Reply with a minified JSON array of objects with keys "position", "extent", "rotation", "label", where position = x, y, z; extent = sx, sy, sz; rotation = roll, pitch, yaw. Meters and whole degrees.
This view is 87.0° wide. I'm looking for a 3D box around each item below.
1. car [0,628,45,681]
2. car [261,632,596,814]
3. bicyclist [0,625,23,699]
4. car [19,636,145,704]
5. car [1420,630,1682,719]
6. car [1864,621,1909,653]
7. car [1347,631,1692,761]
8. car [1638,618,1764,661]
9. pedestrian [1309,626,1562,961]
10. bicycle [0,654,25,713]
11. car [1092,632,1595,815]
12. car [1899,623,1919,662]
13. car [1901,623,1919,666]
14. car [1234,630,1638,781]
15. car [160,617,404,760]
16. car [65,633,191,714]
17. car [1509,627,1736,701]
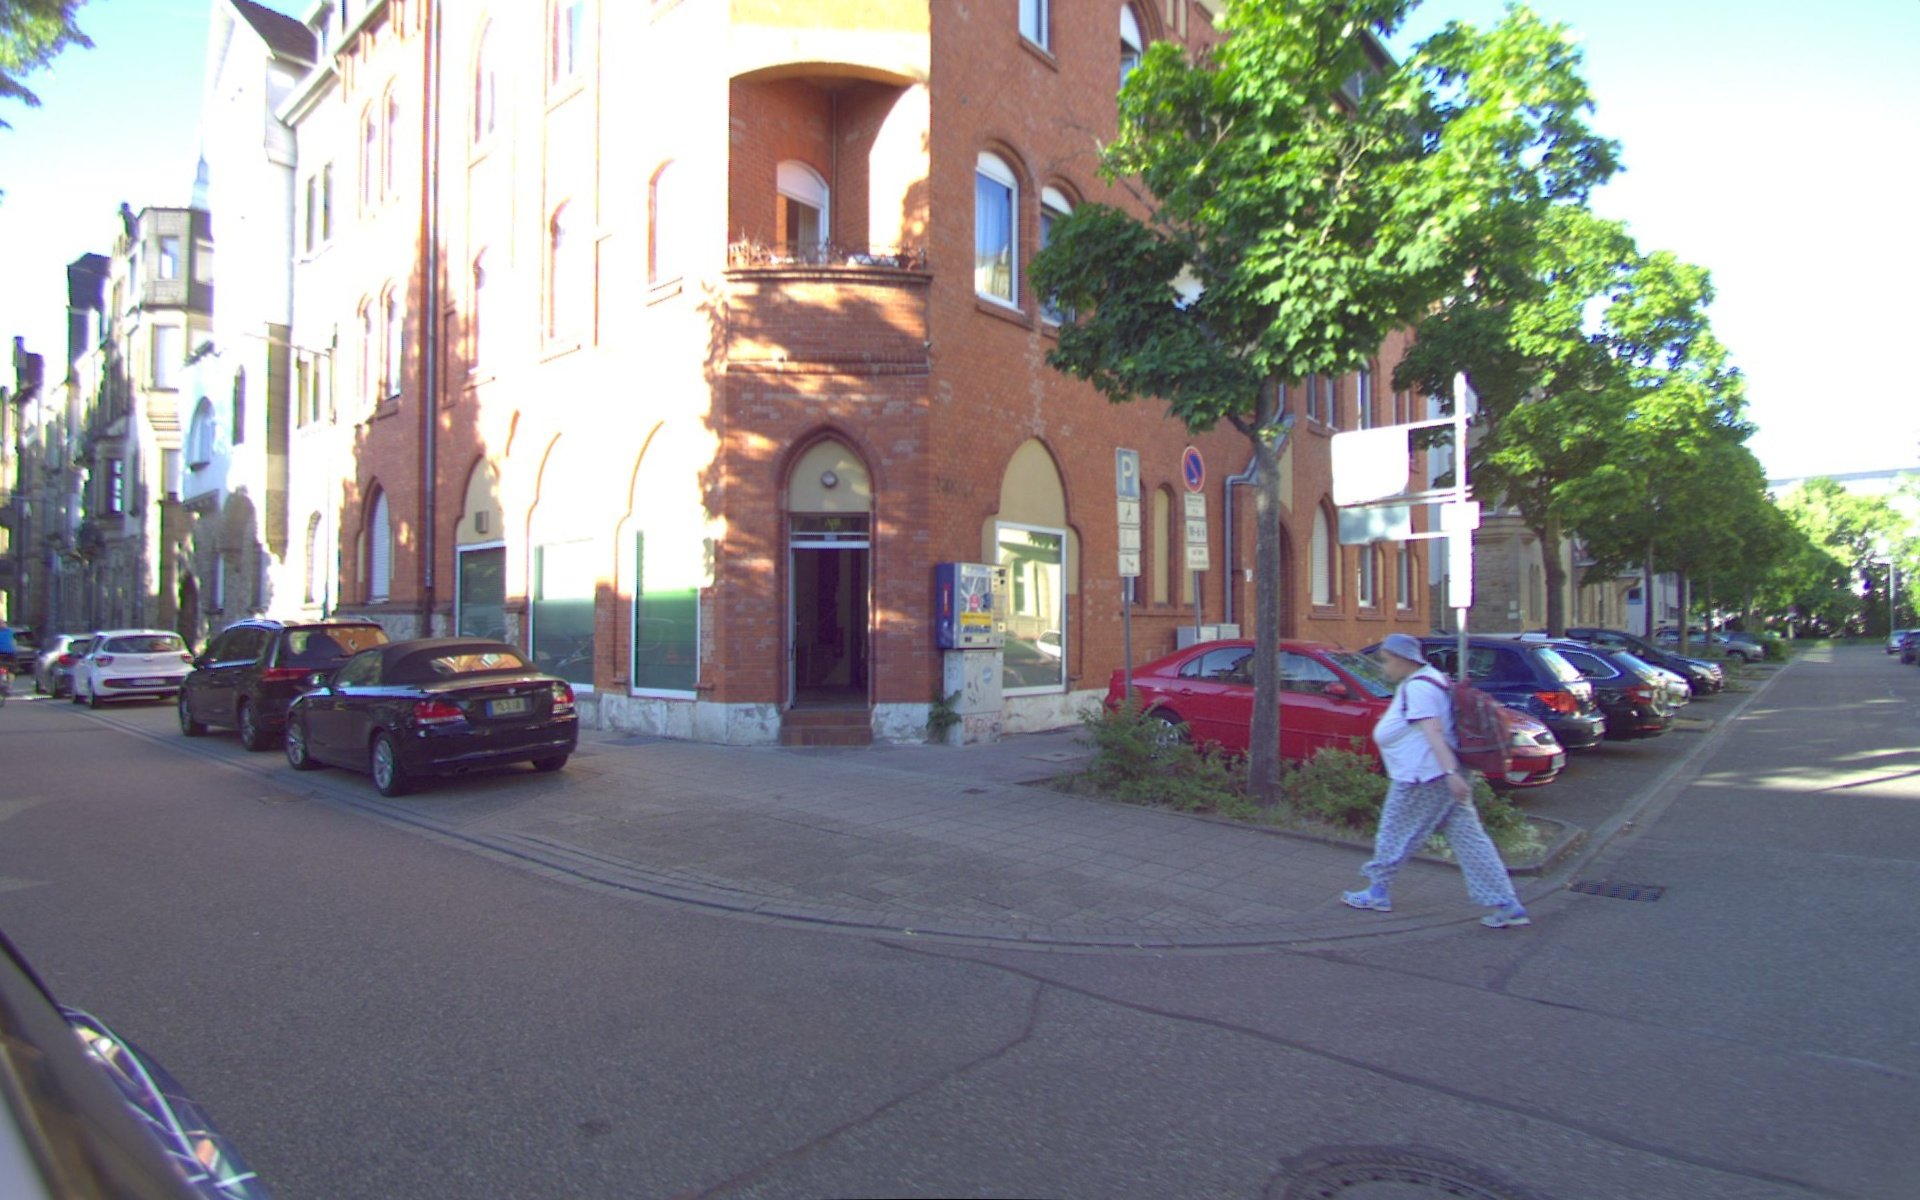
[{"position":[-32.914,1.851,34.646],"extent":[4.337,1.730,1.856],"rotation":[-2,-2,41],"label":"car"},{"position":[-5.618,1.081,10.438],"extent":[4.331,1.421,1.618],"rotation":[-1,0,41],"label":"car"},{"position":[-19.459,1.235,20.354],"extent":[0.948,1.465,0.751],"rotation":[-1,-3,41],"label":"bicyclist"},{"position":[-20.887,1.610,24.034],"extent":[4.108,1.454,1.659],"rotation":[-2,-2,40],"label":"car"},{"position":[11.550,1.399,19.950],"extent":[4.210,1.562,1.695],"rotation":[-2,-3,41],"label":"car"},{"position":[57.330,2.238,62.665],"extent":[1.867,1.746,3.946],"rotation":[-1,1,40],"label":"car"},{"position":[7.634,1.199,14.007],"extent":[3.913,1.523,1.695],"rotation":[-1,-2,41],"label":"car"},{"position":[31.312,1.669,42.833],"extent":[4.209,1.713,1.695],"rotation":[-2,-3,40],"label":"car"},{"position":[2.602,0.951,5.539],"extent":[1.053,1.589,0.878],"rotation":[-1,-3,41],"label":"pedestrian"},{"position":[-19.517,1.660,20.392],"extent":[1.906,1.116,0.750],"rotation":[-1,-3,41],"label":"bicycle"},{"position":[3.780,1.095,10.593],"extent":[4.656,1.480,1.618],"rotation":[-1,-1,42],"label":"car"},{"position":[44.804,1.954,46.842],"extent":[1.651,1.744,3.369],"rotation":[-6,-5,40],"label":"car"},{"position":[40.426,1.806,42.027],"extent":[1.651,1.744,3.369],"rotation":[-6,-5,40],"label":"car"},{"position":[5.732,1.173,12.514],"extent":[4.210,1.562,1.695],"rotation":[-2,-3,41],"label":"car"},{"position":[-9.526,1.099,14.080],"extent":[4.346,1.693,1.652],"rotation":[-1,-1,40],"label":"car"},{"position":[-17.058,1.445,20.698],"extent":[3.591,1.481,1.549],"rotation":[-2,-2,43],"label":"car"},{"position":[15.376,1.448,23.632],"extent":[4.211,1.562,1.695],"rotation":[-2,-3,42],"label":"car"}]
